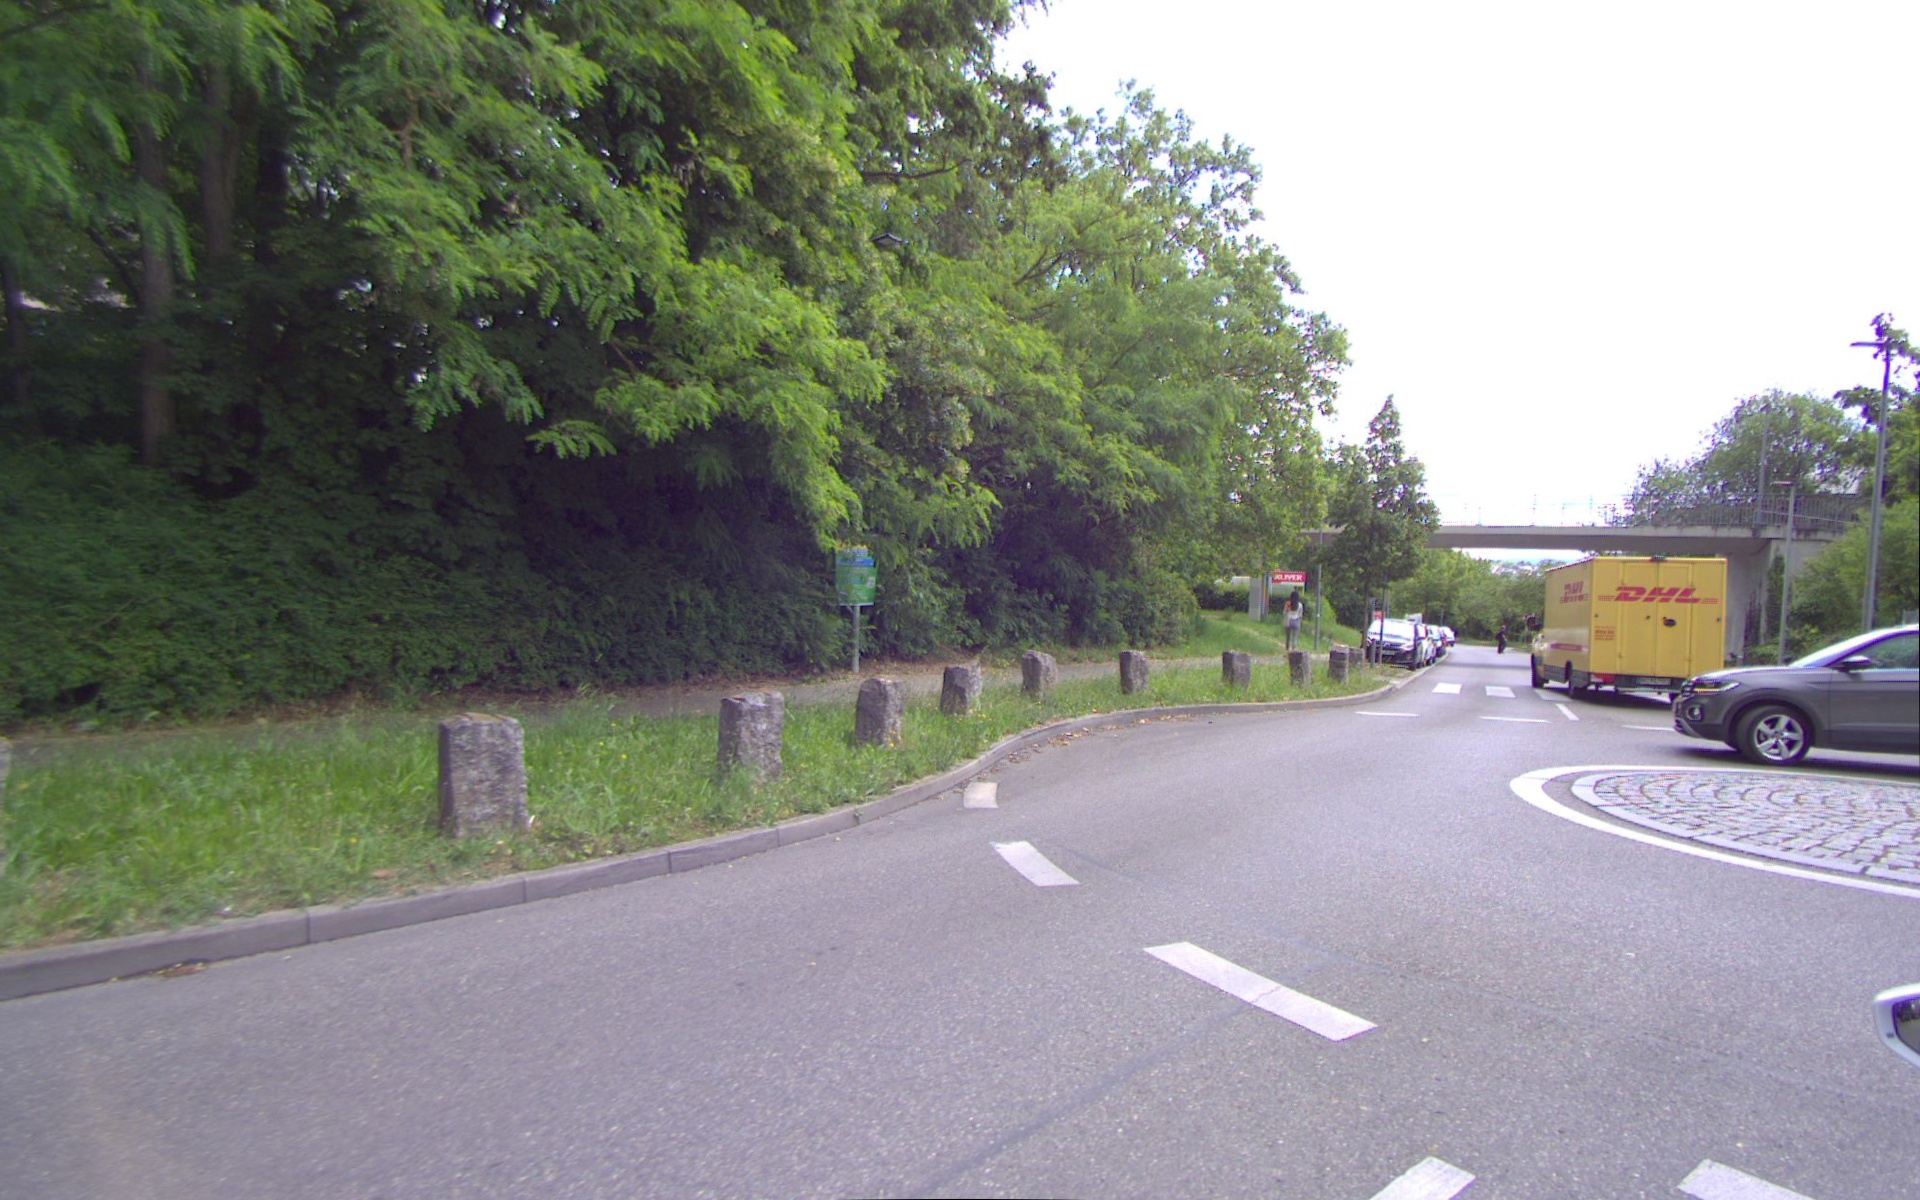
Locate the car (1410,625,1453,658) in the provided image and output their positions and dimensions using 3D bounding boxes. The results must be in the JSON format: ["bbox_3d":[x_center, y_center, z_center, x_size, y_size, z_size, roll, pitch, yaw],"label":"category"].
[{"bbox_3d":[24.262,2.117,51.788,1.855,1.529,4.449,3,0,24],"label":"car"}]

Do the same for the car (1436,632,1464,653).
[{"bbox_3d":[41.043,3.547,84.183,1.855,1.529,4.449,3,0,24],"label":"car"}]

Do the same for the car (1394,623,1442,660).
[{"bbox_3d":[21.286,1.901,46.739,1.855,1.529,4.449,3,0,24],"label":"car"}]

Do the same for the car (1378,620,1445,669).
[{"bbox_3d":[16.149,1.546,35.847,1.856,1.479,3.540,3,1,29],"label":"car"}]

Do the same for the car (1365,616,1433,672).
[{"bbox_3d":[13.845,1.321,31.576,1.758,1.487,3.996,3,1,25],"label":"car"}]

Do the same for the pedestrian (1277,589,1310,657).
[{"bbox_3d":[8.983,0.608,27.029,0.725,1.745,0.659,3,1,22],"label":"pedestrian"}]

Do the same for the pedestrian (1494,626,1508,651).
[{"bbox_3d":[35.344,2.501,65.647,0.706,1.561,0.554,3,2,27],"label":"pedestrian"}]

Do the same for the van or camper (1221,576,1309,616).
[{"bbox_3d":[18.386,-0.255,60.500,4.777,2.114,1.999,3,1,23],"label":"van or camper"}]

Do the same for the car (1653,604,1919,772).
[{"bbox_3d":[9.946,0.924,10.852,3.940,1.639,1.718,1,-1,33],"label":"car"}]

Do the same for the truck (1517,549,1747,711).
[{"bbox_3d":[13.653,0.563,21.032,2.426,2.738,6.823,3,0,21],"label":"truck"}]
